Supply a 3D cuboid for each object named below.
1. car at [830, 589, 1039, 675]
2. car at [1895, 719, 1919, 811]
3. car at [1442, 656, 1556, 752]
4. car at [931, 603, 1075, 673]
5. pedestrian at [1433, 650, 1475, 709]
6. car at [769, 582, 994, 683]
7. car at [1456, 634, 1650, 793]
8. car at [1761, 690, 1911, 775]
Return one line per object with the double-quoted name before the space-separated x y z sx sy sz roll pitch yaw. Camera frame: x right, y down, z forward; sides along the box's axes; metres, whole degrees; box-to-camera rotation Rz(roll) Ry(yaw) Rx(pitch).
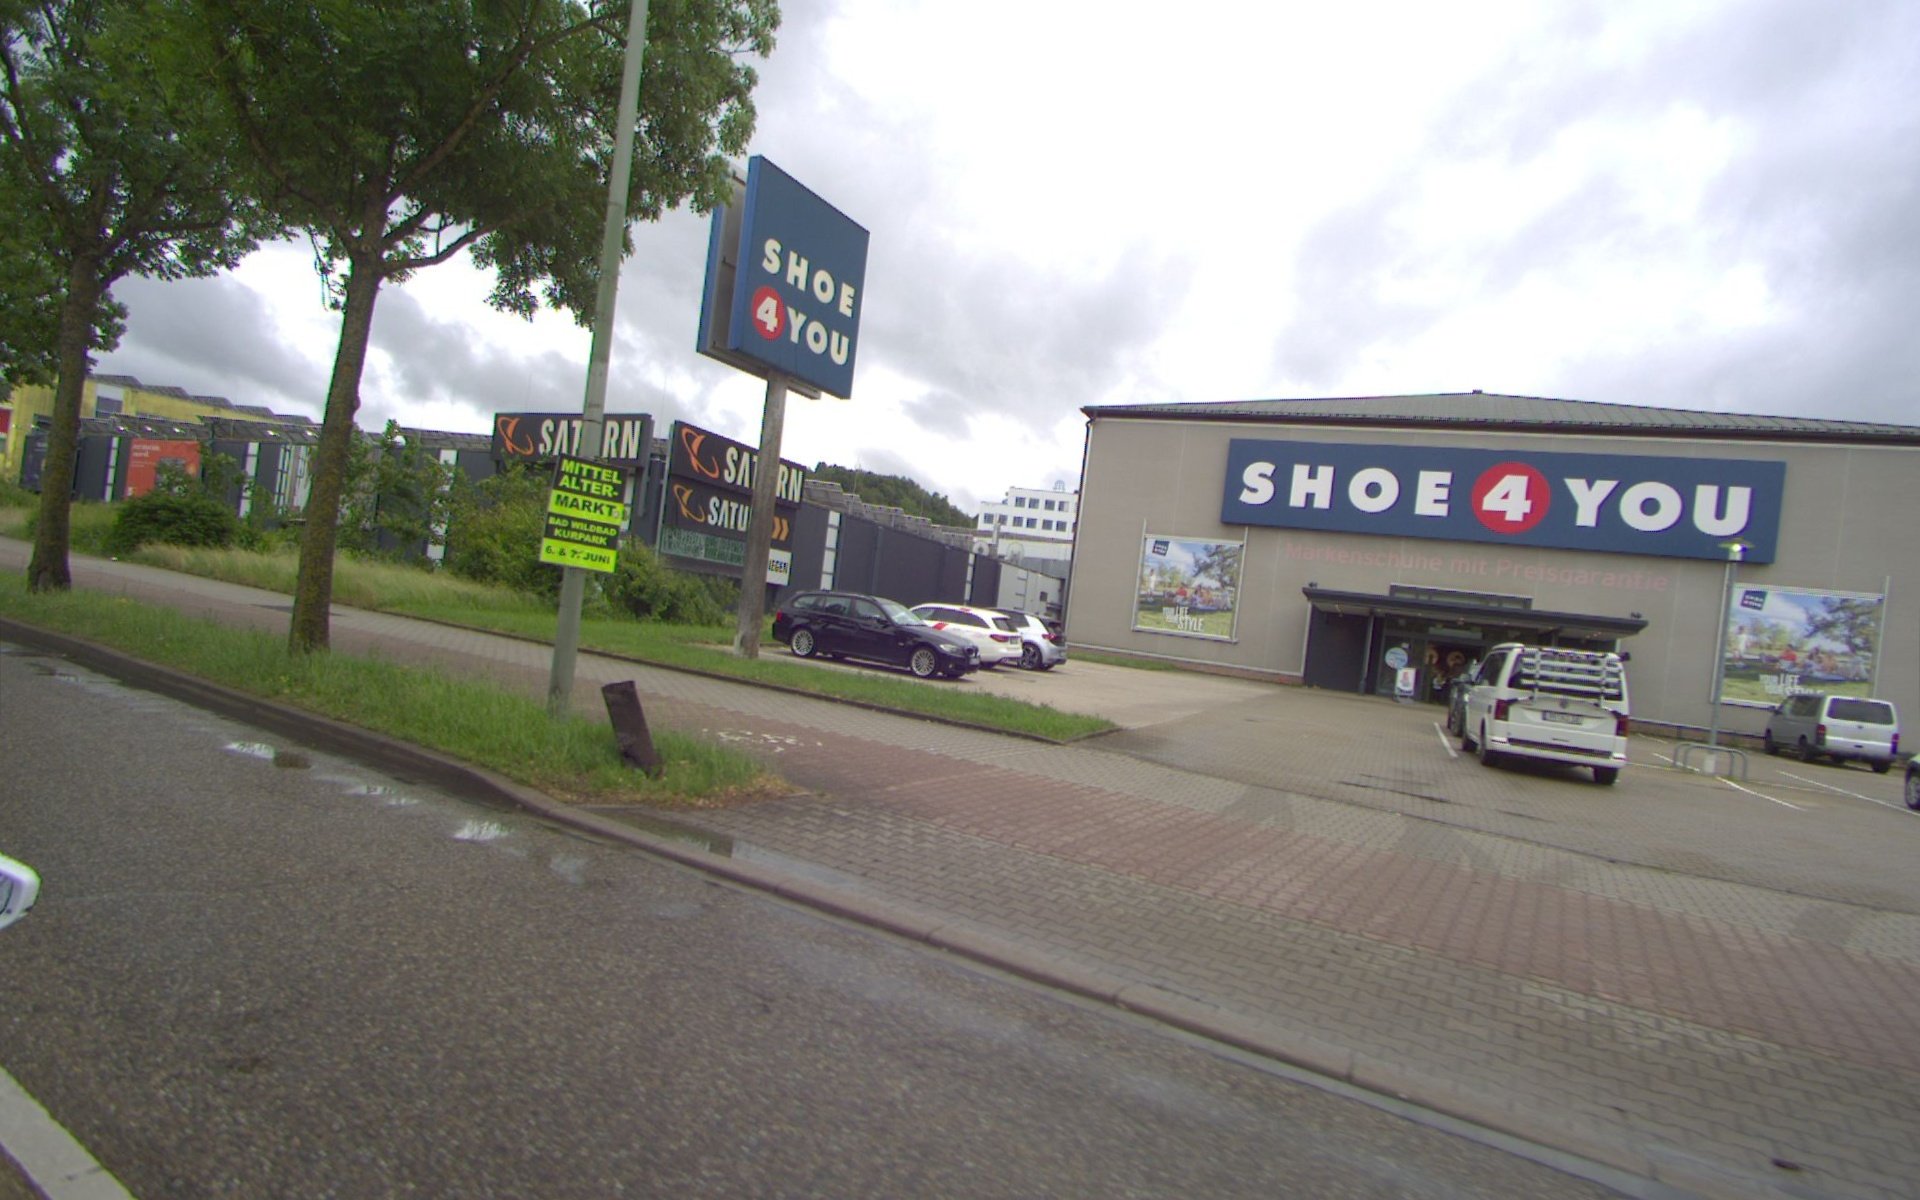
"car" -0.663 0.812 25.652 4.862 1.486 1.886 8 0 23
"car" 16.870 2.874 16.005 1.646 1.533 3.649 7 0 23
"car" 12.064 2.263 22.765 1.711 1.750 4.256 7 -1 23
"car" 1.198 1.040 27.885 3.522 1.459 1.584 7 0 23
"pedestrian" 17.135 2.770 34.888 0.918 1.908 0.767 7 1 42
"car" -1.607 0.649 20.497 4.188 1.446 1.582 8 0 23
"car" 9.671 1.753 16.837 1.954 2.038 4.835 6 -1 23
"car" 24.970 3.711 28.873 1.901 1.883 4.256 7 0 24
